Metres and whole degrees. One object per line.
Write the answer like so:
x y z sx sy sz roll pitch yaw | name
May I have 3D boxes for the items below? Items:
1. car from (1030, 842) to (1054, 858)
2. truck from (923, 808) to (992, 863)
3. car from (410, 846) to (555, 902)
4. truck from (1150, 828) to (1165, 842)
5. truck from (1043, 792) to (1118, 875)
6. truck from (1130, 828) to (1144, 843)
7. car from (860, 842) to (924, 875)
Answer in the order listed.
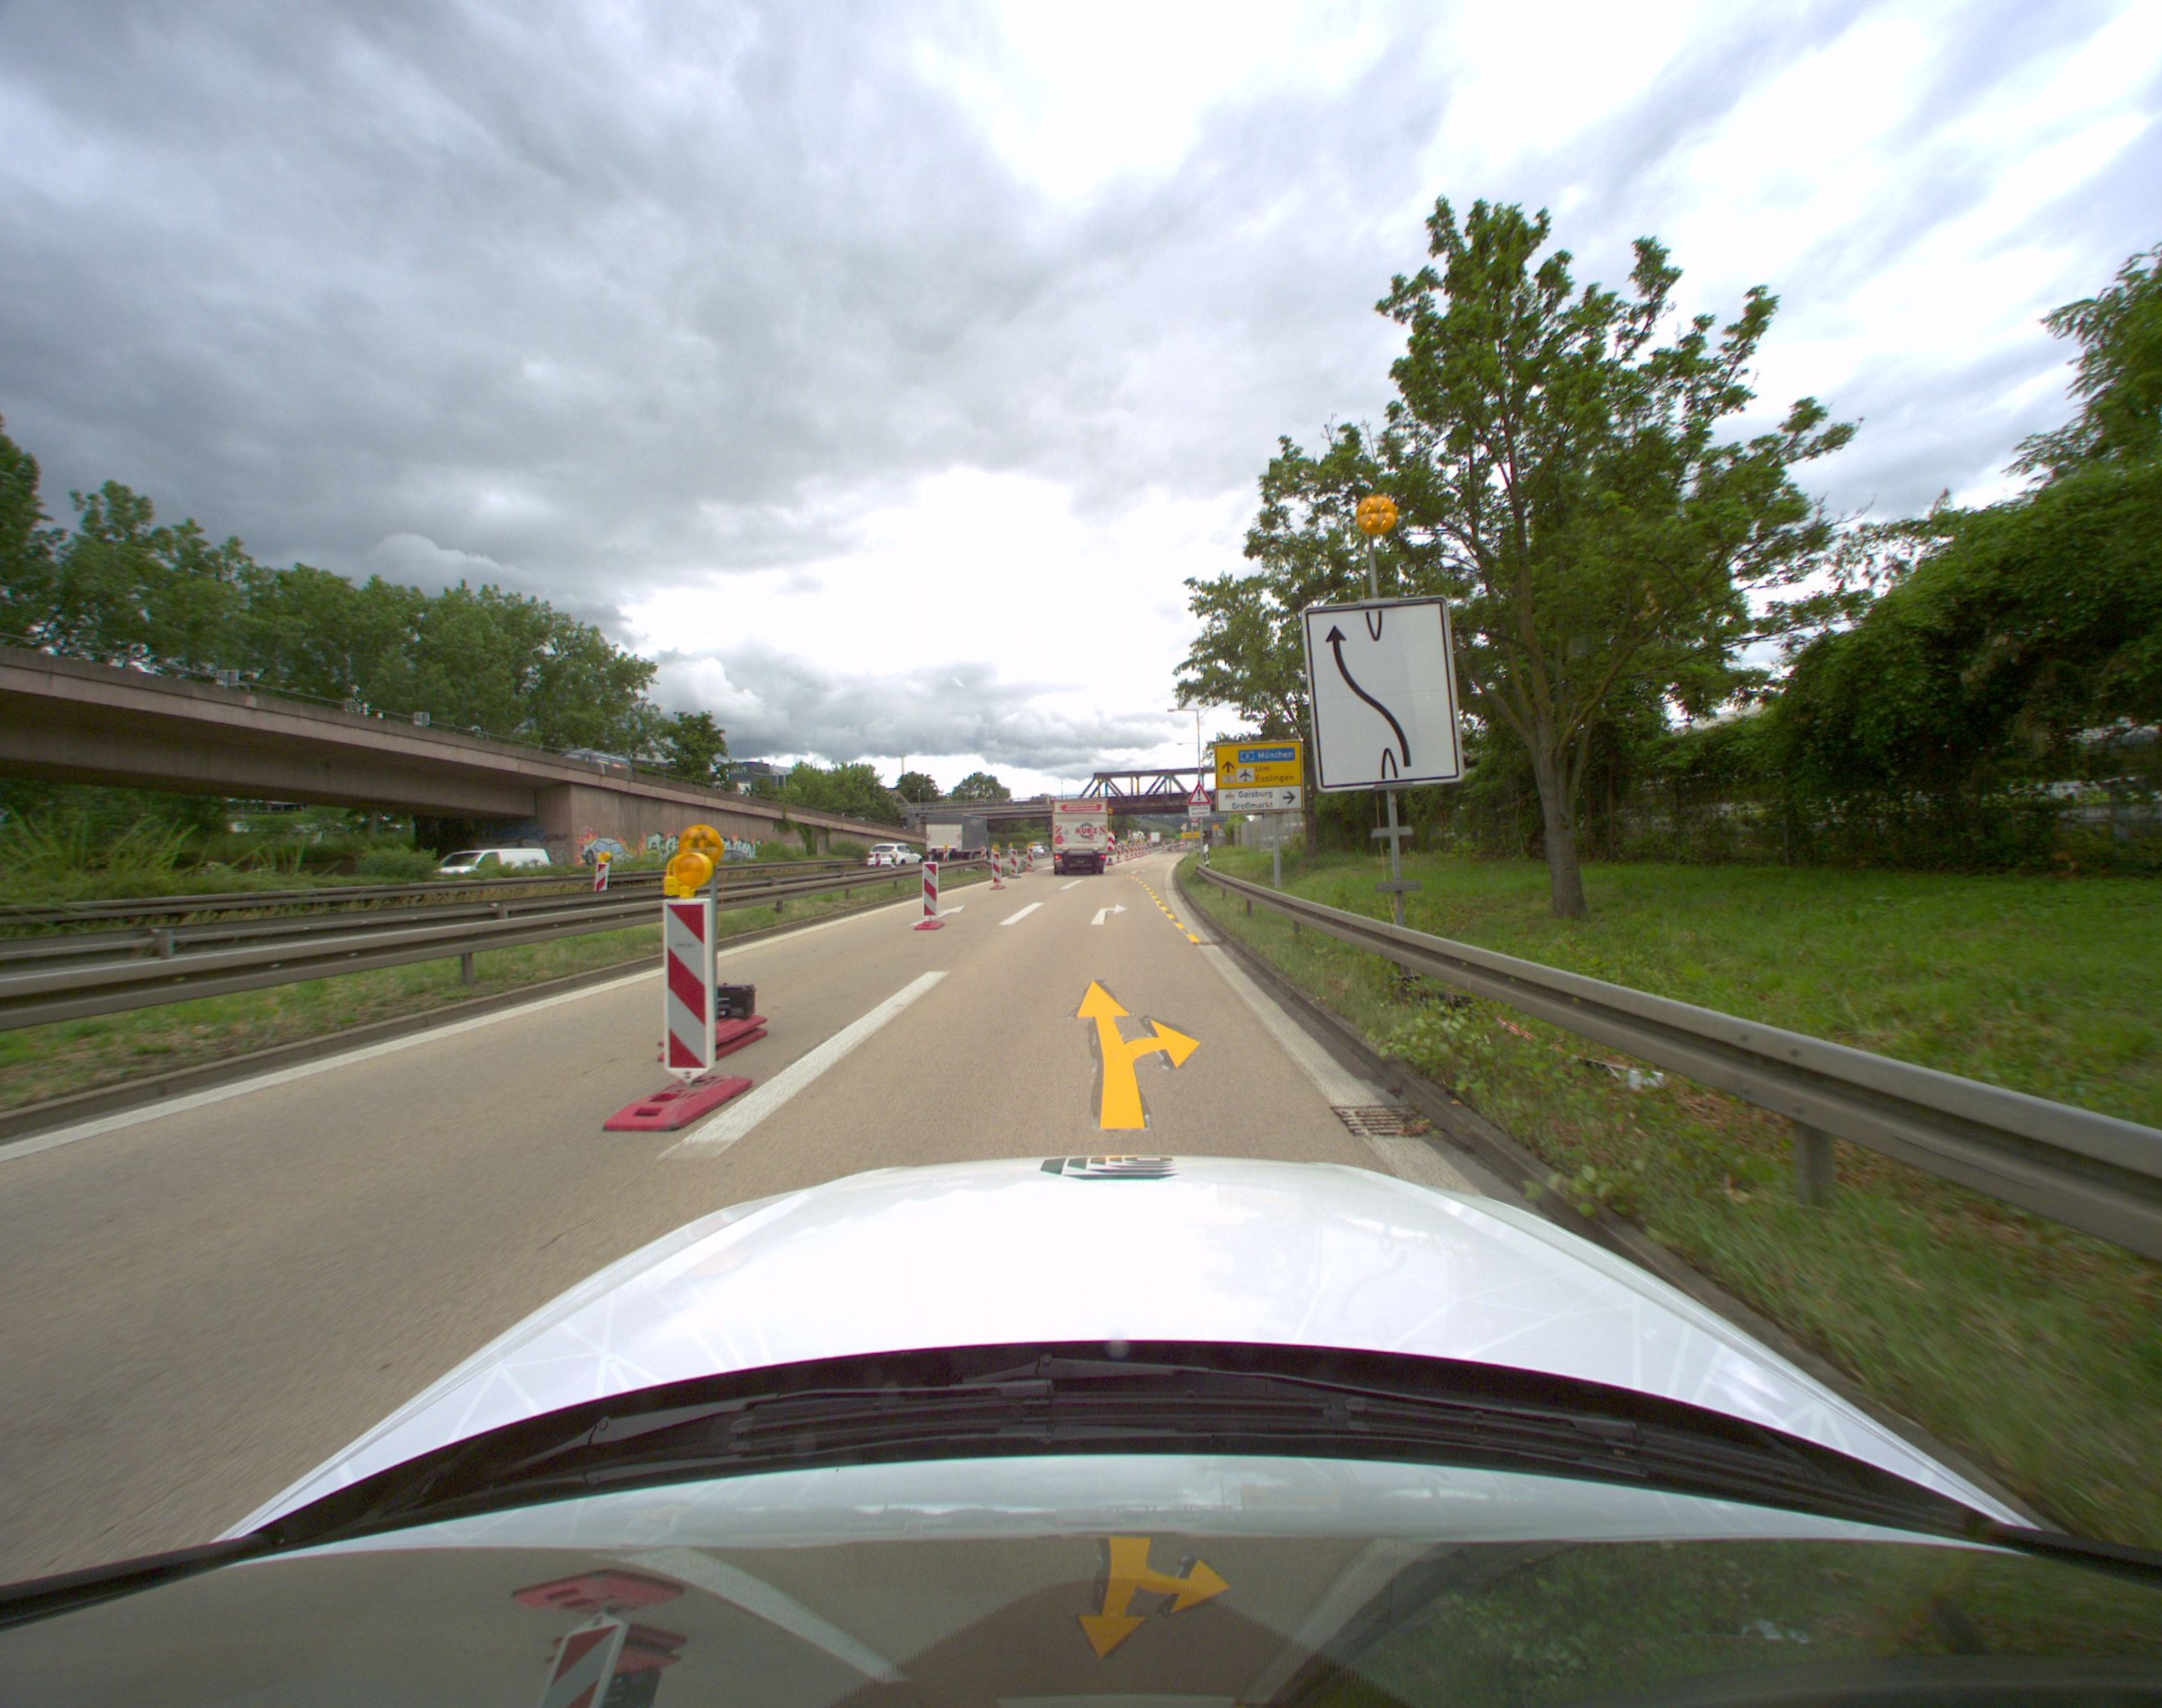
-4.193 -0.445 87.634 1.984 1.618 4.006 -1 0 5 | car
-8.687 -1.243 58.156 3.036 3.656 7.407 -1 0 6 | truck
-23.670 0.732 32.487 1.984 2.013 4.716 -1 0 5 | car
21.419 -5.261 227.673 3.891 3.549 8.149 -1 0 4 | truck
0.148 -0.923 40.594 3.037 3.673 7.936 -1 0 4 | truck
14.515 -4.711 209.487 3.271 3.852 7.675 -1 0 5 | truck
-10.448 0.215 45.295 1.982 1.712 4.112 -1 0 9 | car
